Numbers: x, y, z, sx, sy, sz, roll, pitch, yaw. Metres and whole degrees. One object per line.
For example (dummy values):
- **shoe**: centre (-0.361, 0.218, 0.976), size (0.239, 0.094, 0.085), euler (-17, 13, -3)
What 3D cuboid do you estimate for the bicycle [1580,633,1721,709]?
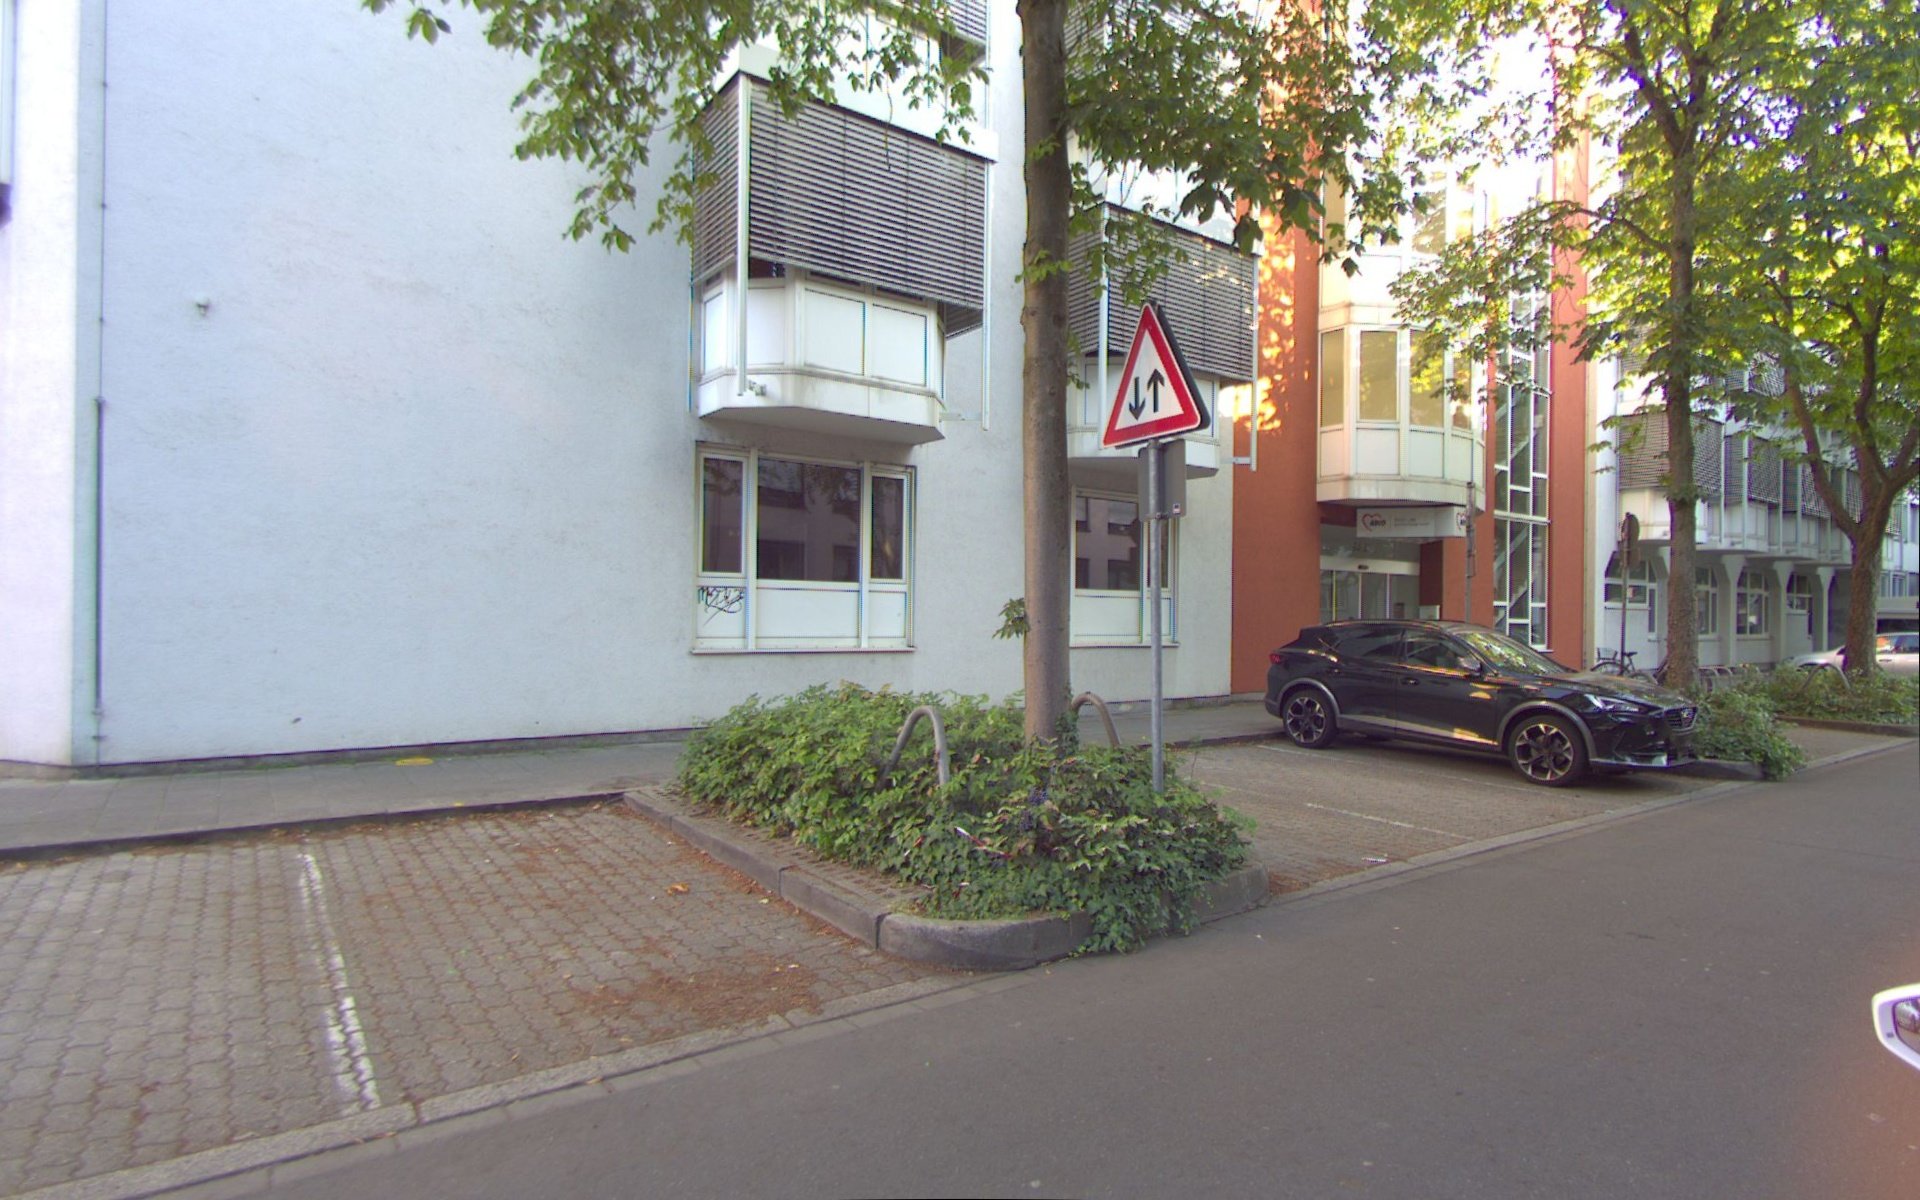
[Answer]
- **bicycle**: centre (11.896, 1.196, 17.355), size (1.949, 1.215, 0.499), euler (0, -1, 44)

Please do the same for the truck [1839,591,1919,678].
- **truck**: centre (28.520, 0.995, 28.579), size (1.896, 2.474, 4.967), euler (0, 1, -34)

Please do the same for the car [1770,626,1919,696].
- **car**: centre (21.906, 1.433, 23.687), size (1.624, 1.491, 4.103), euler (1, 0, -36)

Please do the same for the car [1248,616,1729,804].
- **car**: centre (5.515, 0.997, 11.035), size (1.817, 1.529, 4.326), euler (1, 0, -36)
